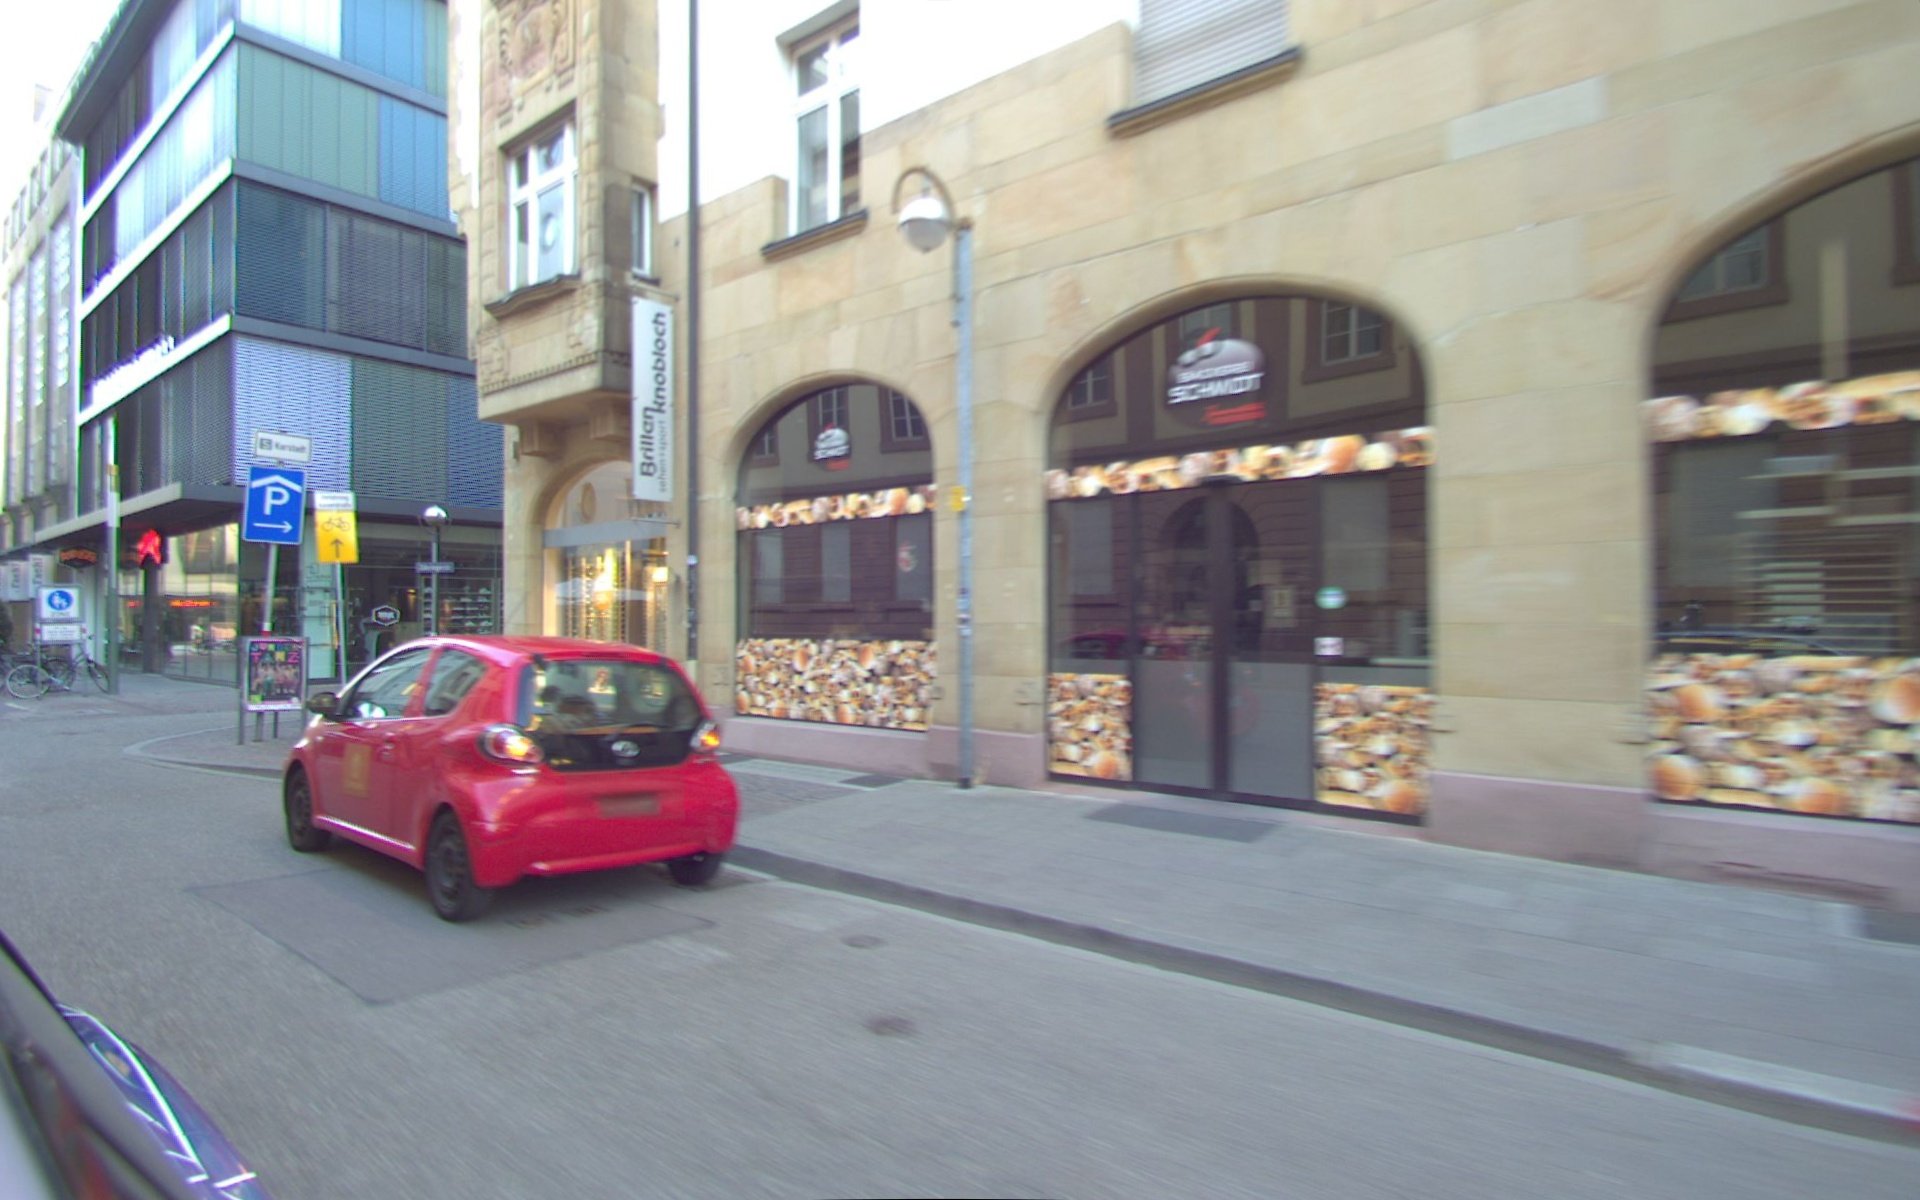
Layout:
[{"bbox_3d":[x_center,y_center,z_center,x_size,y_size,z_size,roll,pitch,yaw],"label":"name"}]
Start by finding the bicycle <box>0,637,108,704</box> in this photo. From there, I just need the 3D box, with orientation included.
[{"bbox_3d":[-18.006,1.372,20.034,0.509,1.213,1.649,-2,0,39],"label":"bicycle"}]

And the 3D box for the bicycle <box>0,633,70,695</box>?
[{"bbox_3d":[-21.360,1.460,22.788,0.538,1.279,1.878,-2,2,40],"label":"bicycle"}]

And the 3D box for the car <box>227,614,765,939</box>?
[{"bbox_3d":[-3.178,0.880,6.570,3.930,1.481,1.640,-1,-4,41],"label":"car"}]

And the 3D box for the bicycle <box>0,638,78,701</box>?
[{"bbox_3d":[-19.408,1.443,20.779,0.516,1.190,1.879,-4,-1,38],"label":"bicycle"}]
